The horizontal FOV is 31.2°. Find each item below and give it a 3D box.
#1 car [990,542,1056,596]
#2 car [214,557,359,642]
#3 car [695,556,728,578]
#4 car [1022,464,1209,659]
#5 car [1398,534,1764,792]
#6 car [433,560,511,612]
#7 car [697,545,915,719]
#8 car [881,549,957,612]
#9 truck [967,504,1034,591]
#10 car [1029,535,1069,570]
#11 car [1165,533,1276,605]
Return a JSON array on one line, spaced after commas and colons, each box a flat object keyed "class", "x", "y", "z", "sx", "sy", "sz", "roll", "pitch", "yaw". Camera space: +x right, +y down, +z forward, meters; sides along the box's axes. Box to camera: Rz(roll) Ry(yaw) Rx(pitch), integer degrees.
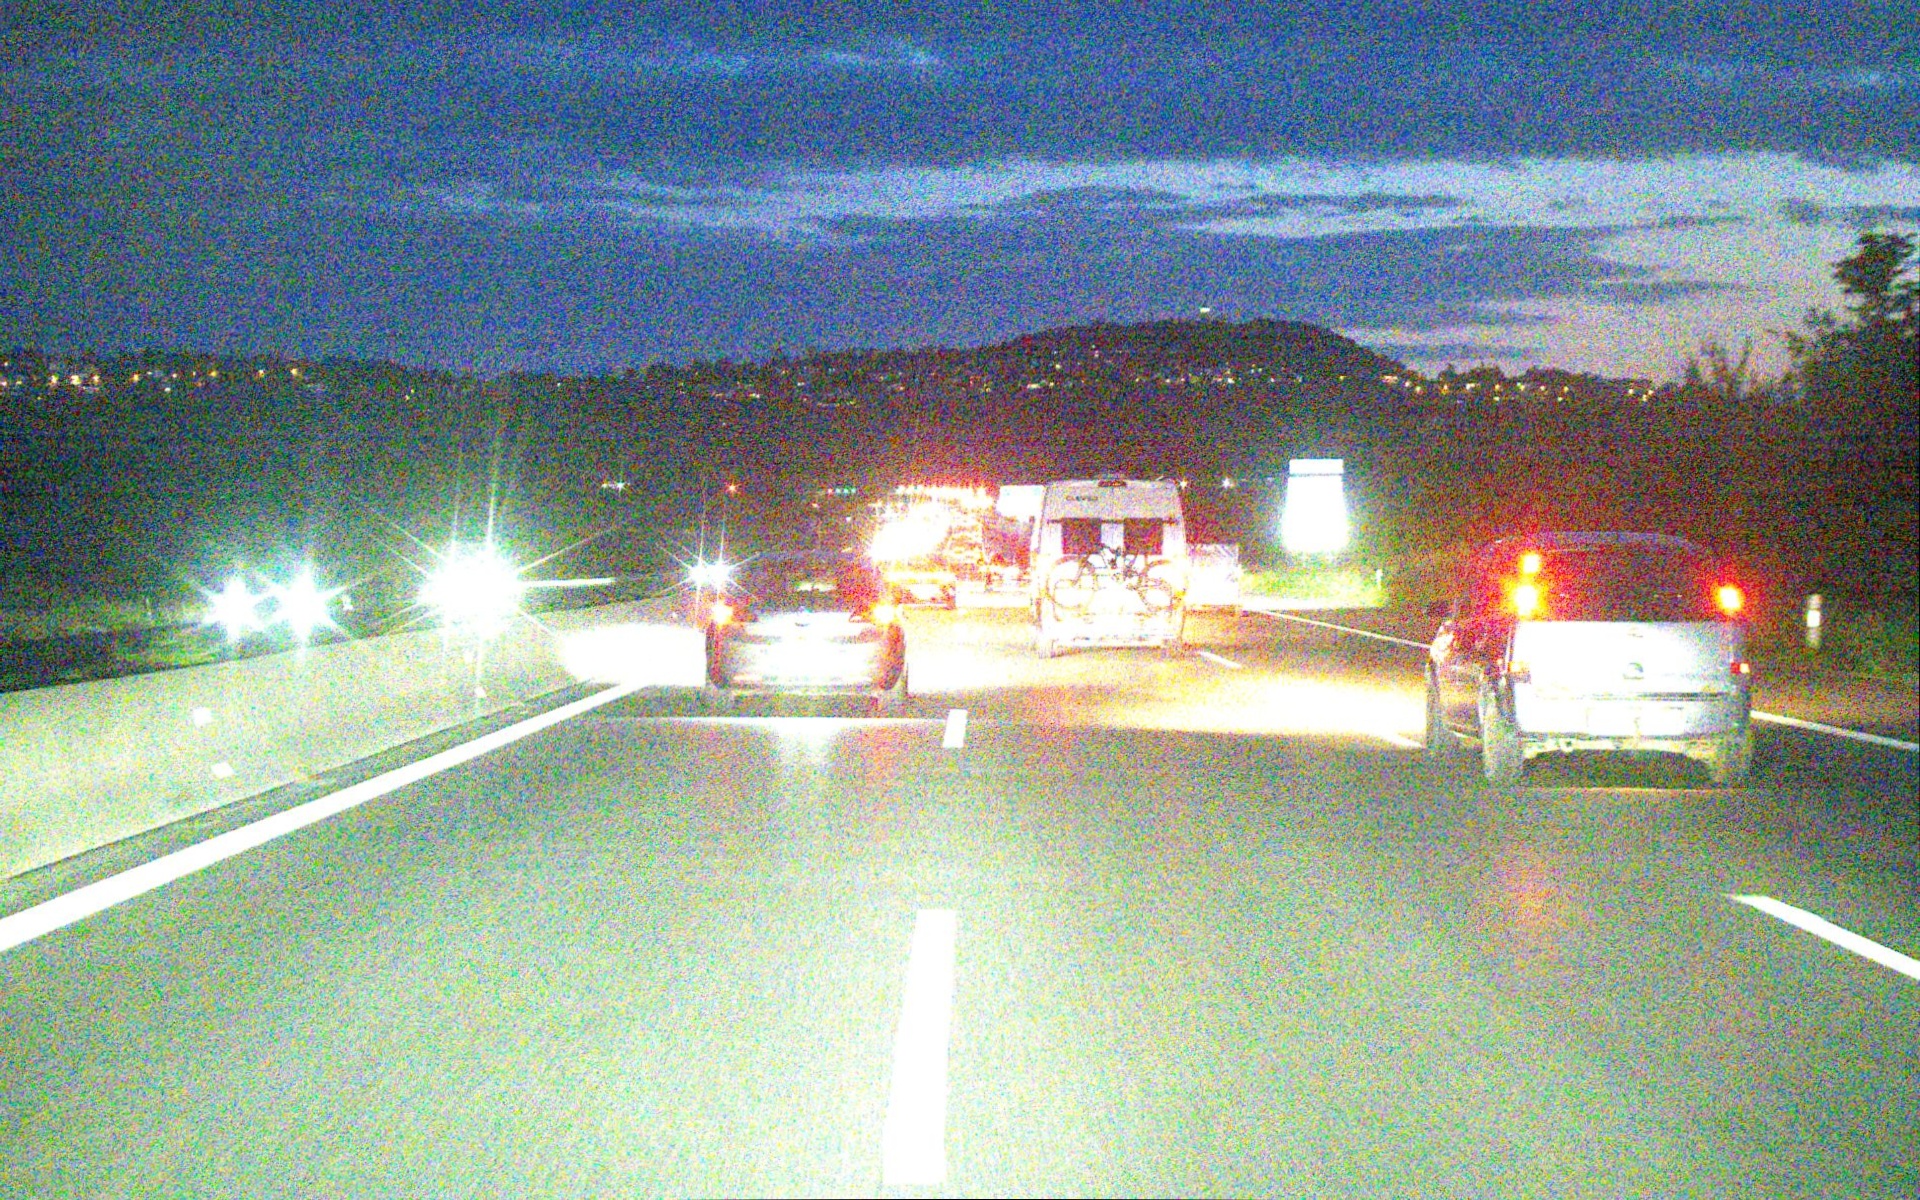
[{"class": "car", "x": 2.302, "y": -1.160, "z": 126.338, "sx": 2.351, "sy": 1.907, "sz": 4.723, "roll": -1, "pitch": 1, "yaw": 1}, {"class": "car", "x": -14.038, "y": -0.050, "z": 71.934, "sx": 1.903, "sy": 1.637, "sz": 5.298, "roll": -2, "pitch": 1, "yaw": 1}, {"class": "car", "x": -17.347, "y": -2.292, "z": 240.447, "sx": 1.993, "sy": 1.414, "sz": 4.983, "roll": -3, "pitch": 1, "yaw": -1}, {"class": "car", "x": 2.099, "y": -0.577, "z": 48.148, "sx": 2.351, "sy": 2.526, "sz": 5.701, "roll": -1, "pitch": 1, "yaw": 1}, {"class": "car", "x": 4.122, "y": 0.352, "z": 23.471, "sx": 1.646, "sy": 1.591, "sz": 4.510, "roll": 0, "pitch": 1, "yaw": 0}, {"class": "car", "x": -17.638, "y": -0.521, "z": 124.454, "sx": 2.045, "sy": 1.714, "sz": 4.775, "roll": -3, "pitch": 1, "yaw": 1}, {"class": "car", "x": -1.351, "y": 0.247, "z": 31.475, "sx": 1.793, "sy": 1.464, "sz": 3.773, "roll": 0, "pitch": 1, "yaw": 1}, {"class": "car", "x": -0.985, "y": -0.512, "z": 85.059, "sx": 1.745, "sy": 1.435, "sz": 4.367, "roll": -1, "pitch": 1, "yaw": 1}, {"class": "truck", "x": 1.873, "y": -2.444, "z": 160.795, "sx": 2.781, "sy": 3.942, "sz": 7.994, "roll": -1, "pitch": 1, "yaw": -1}, {"class": "car", "x": 5.478, "y": -2.930, "z": 212.087, "sx": 2.351, "sy": 2.068, "sz": 4.723, "roll": -1, "pitch": 1, "yaw": 1}, {"class": "car", "x": 5.825, "y": -0.724, "z": 77.240, "sx": 2.163, "sy": 1.558, "sz": 4.723, "roll": -1, "pitch": 1, "yaw": 1}]
